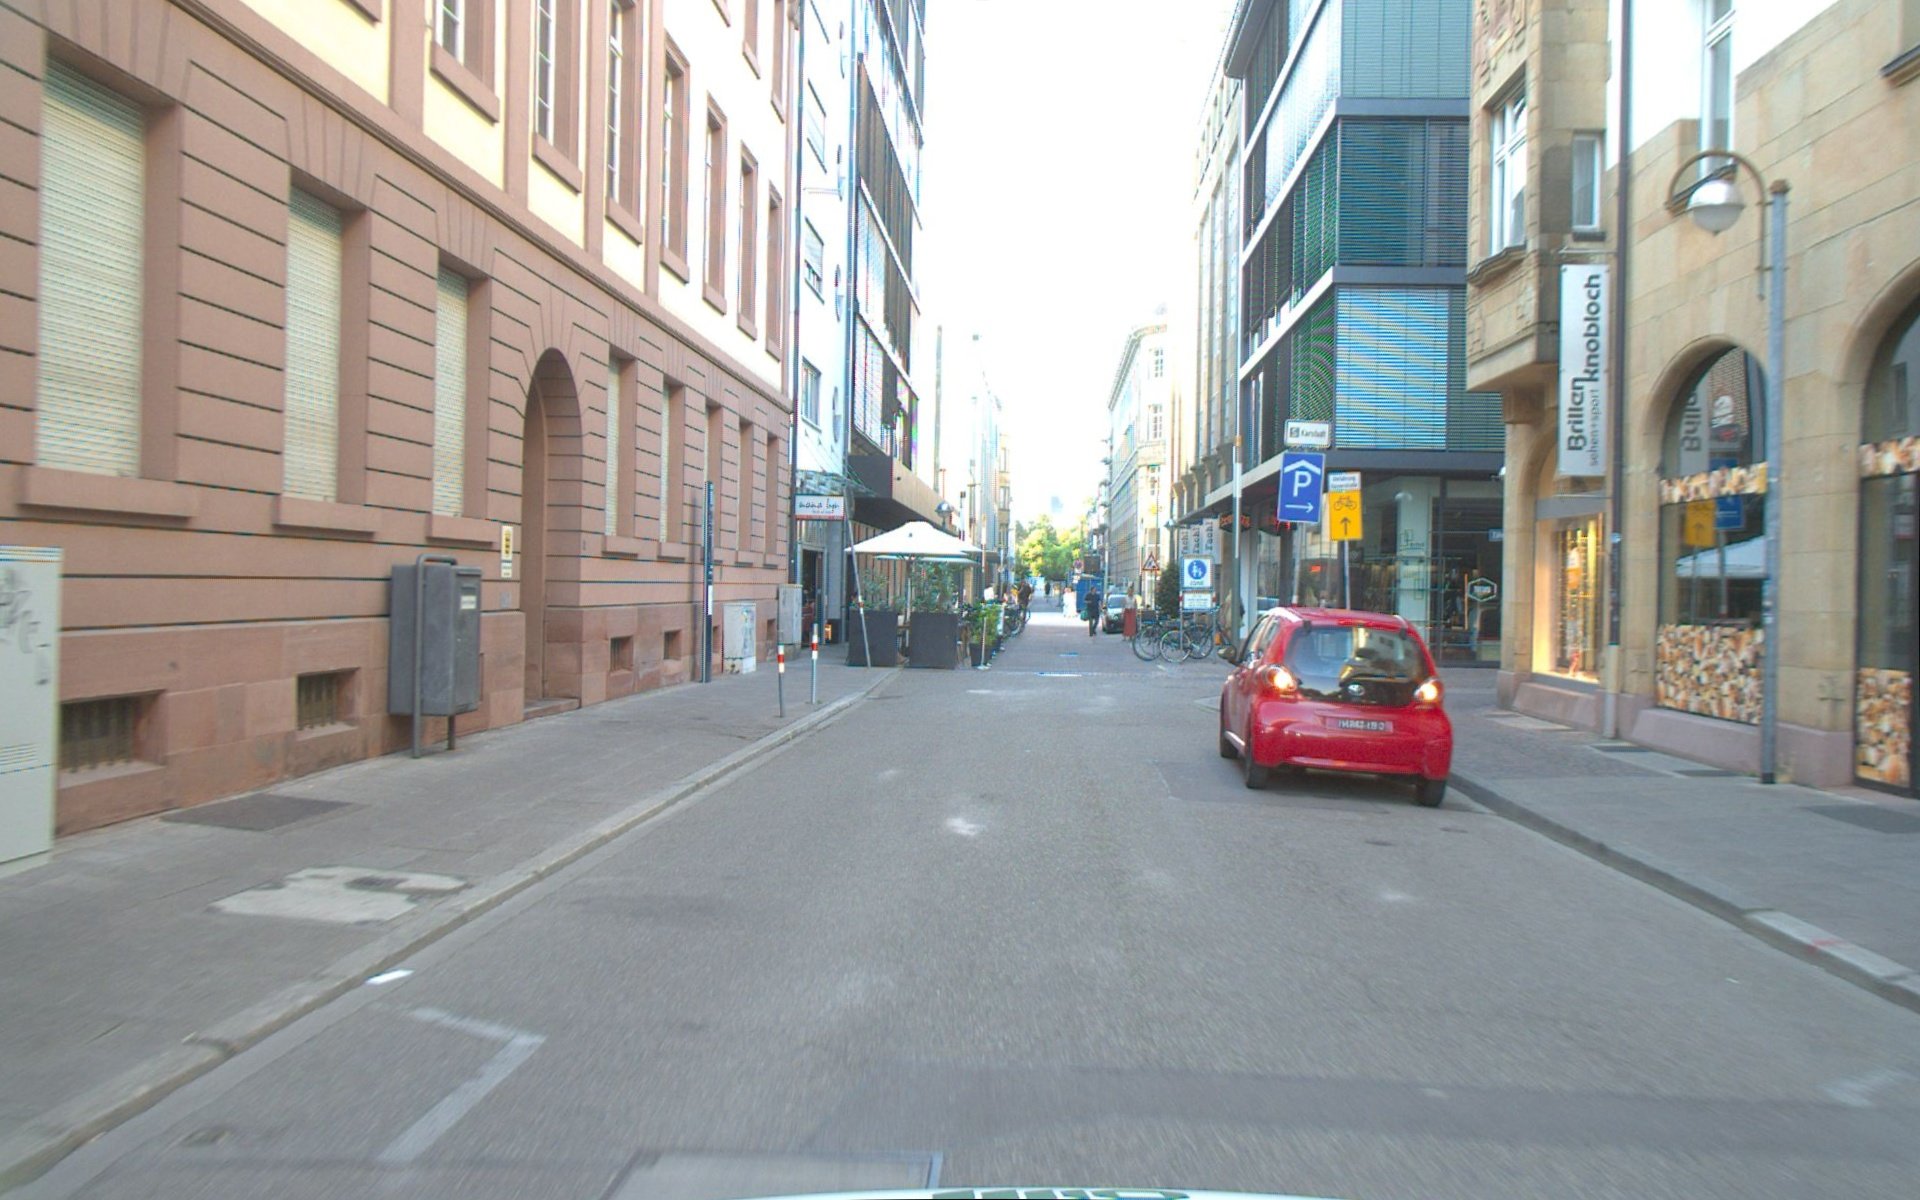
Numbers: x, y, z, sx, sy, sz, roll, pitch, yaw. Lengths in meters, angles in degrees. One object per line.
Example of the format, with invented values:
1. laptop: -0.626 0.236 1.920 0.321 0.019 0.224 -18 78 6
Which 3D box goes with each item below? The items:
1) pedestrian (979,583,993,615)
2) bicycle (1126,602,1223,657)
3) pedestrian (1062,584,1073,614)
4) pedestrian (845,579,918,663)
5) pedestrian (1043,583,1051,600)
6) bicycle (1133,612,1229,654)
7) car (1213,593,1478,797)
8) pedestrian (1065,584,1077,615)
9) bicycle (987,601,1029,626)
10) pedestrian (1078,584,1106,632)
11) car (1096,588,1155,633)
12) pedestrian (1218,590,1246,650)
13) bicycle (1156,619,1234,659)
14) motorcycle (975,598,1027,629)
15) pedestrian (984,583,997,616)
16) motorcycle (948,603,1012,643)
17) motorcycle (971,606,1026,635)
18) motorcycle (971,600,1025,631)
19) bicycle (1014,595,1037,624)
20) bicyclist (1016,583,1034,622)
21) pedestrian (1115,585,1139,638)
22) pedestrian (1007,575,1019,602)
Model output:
1. pedestrian: 1.330 -0.052 83.917 0.592 1.651 0.528 1 0 -7
2. bicycle: 4.691 0.640 36.270 2.010 1.154 0.649 1 0 -1
3. pedestrian: 5.818 -0.058 89.466 0.591 1.651 0.626 1 0 5
4. pedestrian: -1.438 0.377 30.506 1.264 1.513 0.661 1 0 1
5. pedestrian: 8.757 -0.863 167.069 0.787 1.702 0.889 1 0 5
6. bicycle: 5.196 0.780 39.000 2.155 0.921 0.649 1 0 -1
7. car: 3.236 0.723 14.498 1.615 1.452 3.537 4 0 3
8. pedestrian: 5.962 -0.032 88.855 0.591 1.651 0.530 1 0 5
9. bicycle: 1.764 0.500 60.637 1.499 0.912 0.482 1 0 -25
10. pedestrian: 4.865 0.295 60.887 0.849 1.743 0.851 1 0 -5
11. car: 6.340 0.390 63.658 1.952 1.639 4.001 1 0 1
12. pedestrian: 7.035 0.508 42.805 0.643 1.513 0.493 1 0 5
13. bicycle: 4.929 0.820 34.712 1.533 0.782 0.557 1 0 -1
14. motorcycle: 1.417 0.470 57.172 1.765 1.007 0.560 1 0 -1
15. pedestrian: 1.530 -0.024 83.263 0.592 1.651 0.528 1 0 -7
16. motorcycle: 0.557 0.642 46.339 1.765 1.059 0.493 1 0 -1
17. motorcycle: 1.256 0.673 54.459 1.765 0.891 0.560 1 0 -1
18. motorcycle: 1.261 0.528 55.532 1.765 1.007 0.560 1 0 -1
19. bicycle: 2.820 0.403 71.516 0.624 1.177 2.498 1 0 -6
20. bicyclist: 2.806 0.086 71.618 0.624 1.669 0.771 1 0 -6
21. pedestrian: 5.223 0.365 51.750 0.620 1.648 0.466 1 0 -6
22. pedestrian: 3.374 -0.726 105.331 0.664 1.651 0.626 1 0 5
